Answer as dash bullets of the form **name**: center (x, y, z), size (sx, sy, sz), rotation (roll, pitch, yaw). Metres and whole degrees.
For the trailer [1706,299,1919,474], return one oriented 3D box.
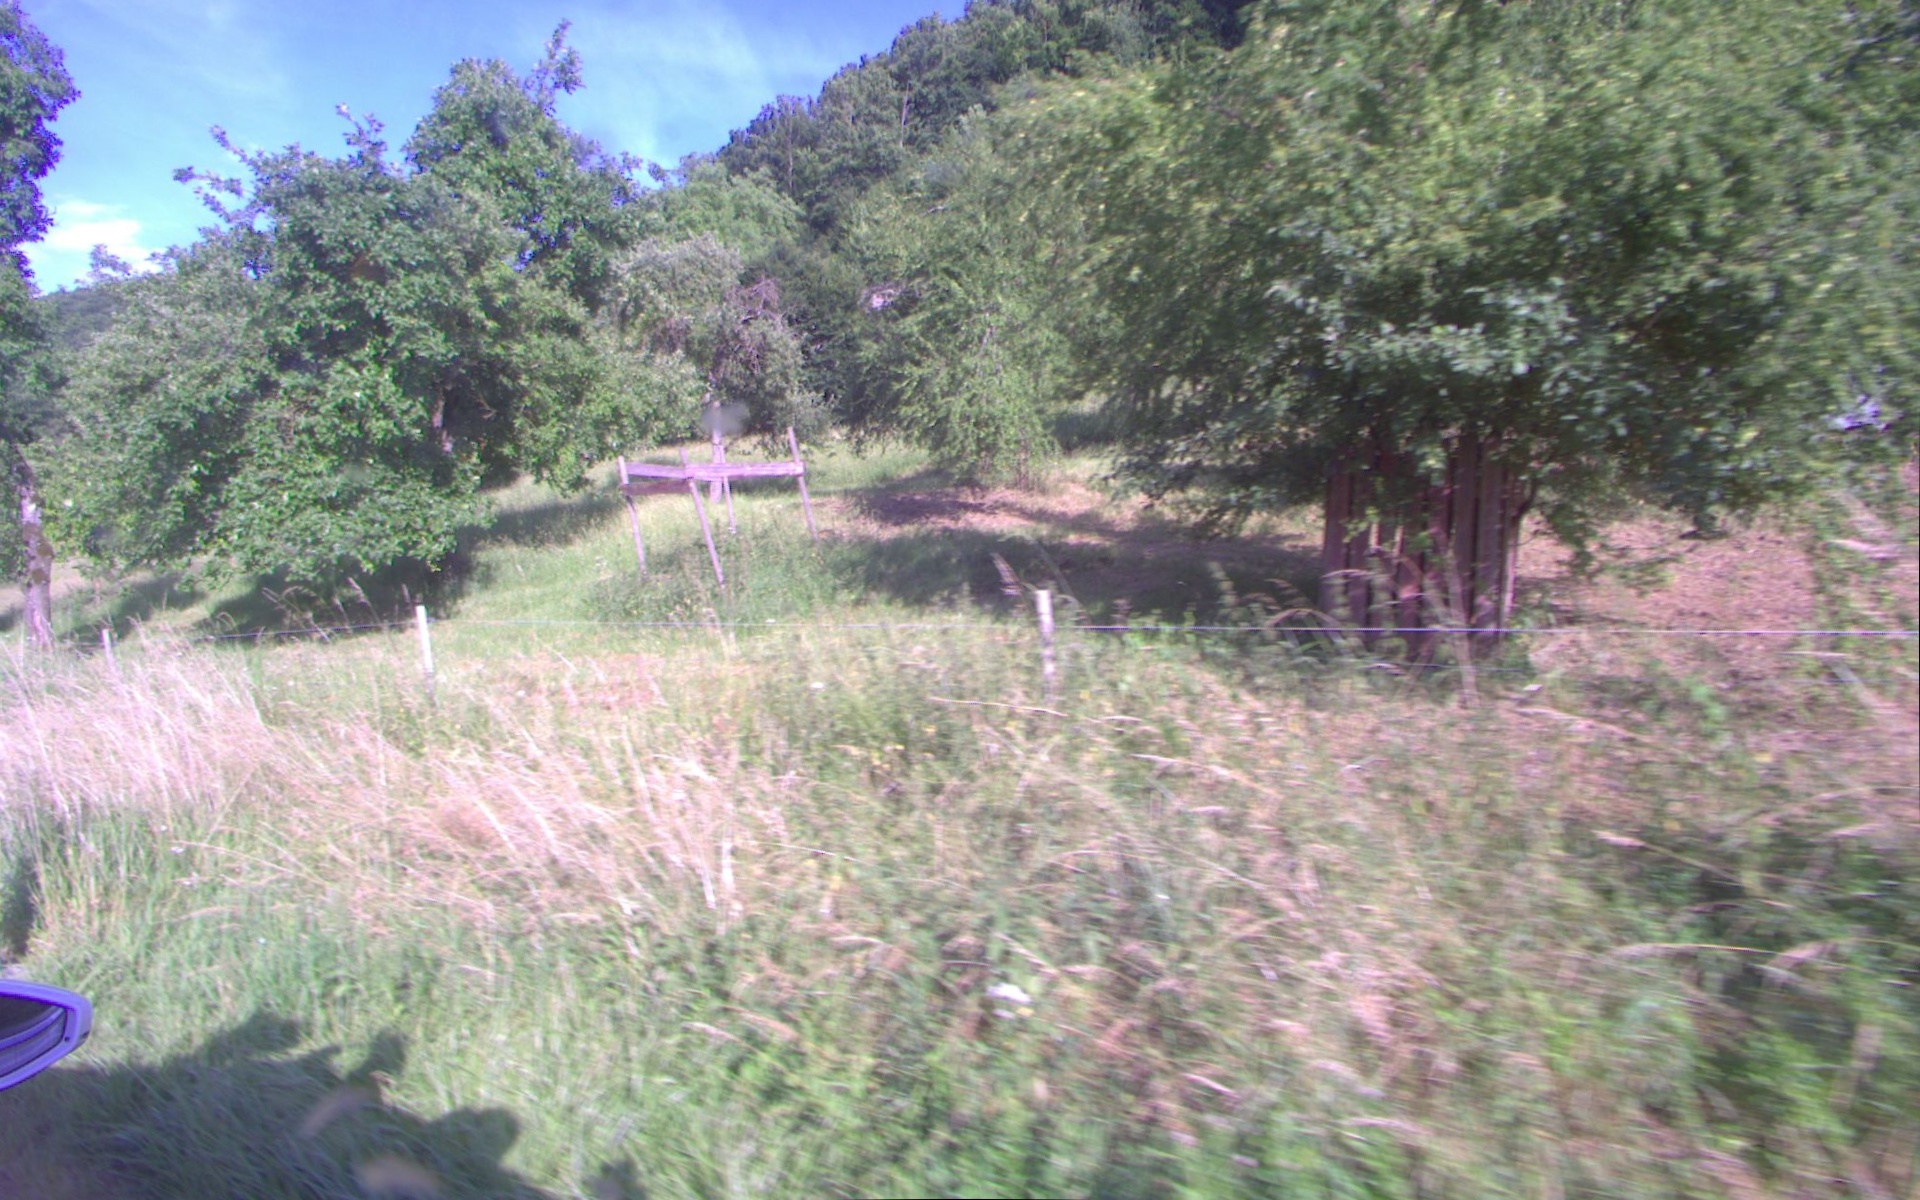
- **trailer**: center (16.209, -3.590, 17.096), size (5.164, 2.594, 2.149), rotation (3, 4, 29)
